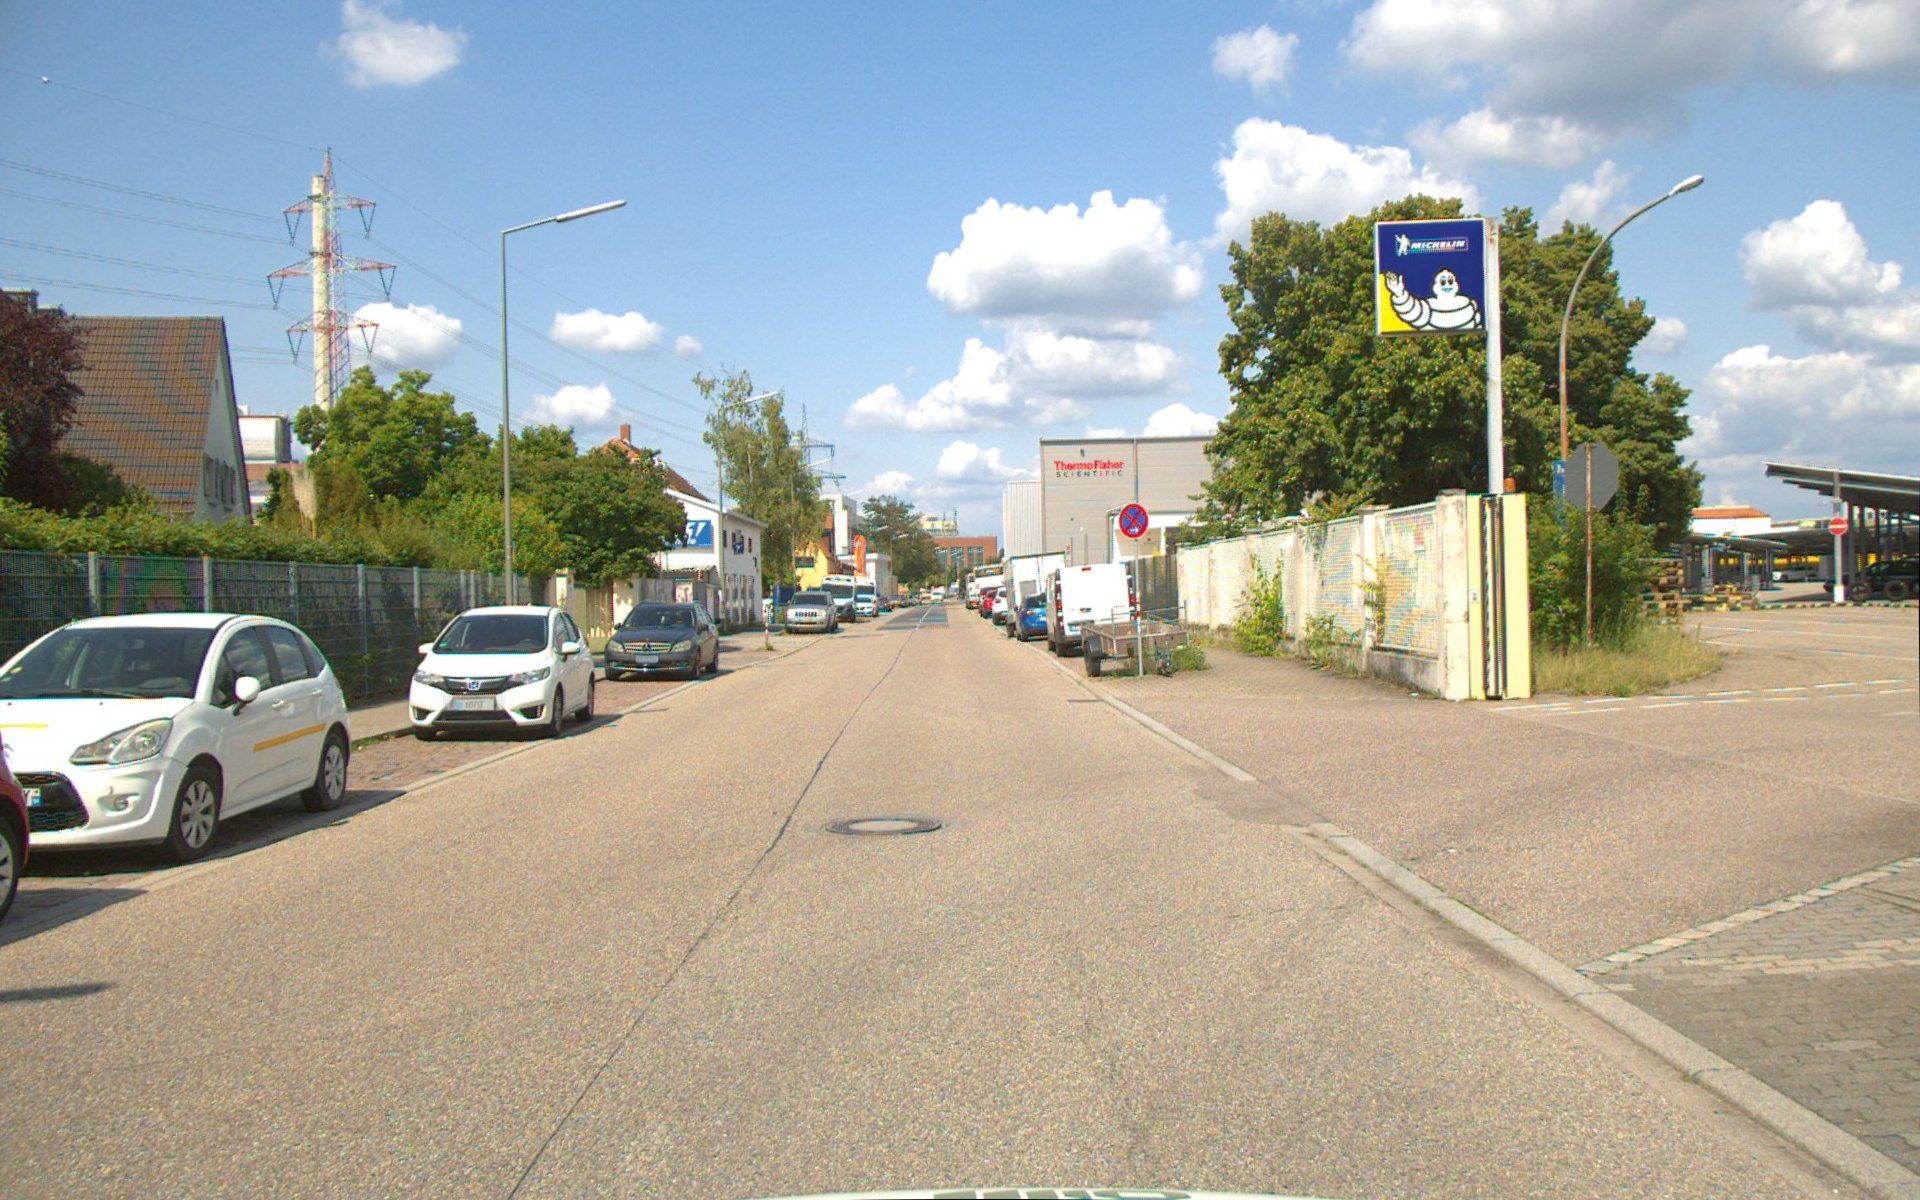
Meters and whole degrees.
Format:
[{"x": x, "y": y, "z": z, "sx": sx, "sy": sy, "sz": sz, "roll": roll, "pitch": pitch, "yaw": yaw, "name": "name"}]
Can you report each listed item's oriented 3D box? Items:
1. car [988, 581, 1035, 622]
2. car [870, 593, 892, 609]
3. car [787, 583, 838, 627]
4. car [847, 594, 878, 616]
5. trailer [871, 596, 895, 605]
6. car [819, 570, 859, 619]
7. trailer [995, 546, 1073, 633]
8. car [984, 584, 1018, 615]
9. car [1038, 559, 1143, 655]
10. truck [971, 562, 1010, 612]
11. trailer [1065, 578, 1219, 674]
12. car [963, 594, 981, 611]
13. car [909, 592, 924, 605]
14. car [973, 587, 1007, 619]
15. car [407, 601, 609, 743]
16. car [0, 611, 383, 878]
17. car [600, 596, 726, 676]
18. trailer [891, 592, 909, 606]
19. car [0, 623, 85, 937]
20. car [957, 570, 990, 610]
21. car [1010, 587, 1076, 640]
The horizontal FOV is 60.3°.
[{"x": 2.364, "y": 0.048, "z": 77.127, "sx": 1.896, "sy": 1.723, "sz": 4.679, "roll": -4, "pitch": 0, "yaw": -1, "name": "car"}, {"x": -7.193, "y": 0.091, "z": 150.861, "sx": 1.726, "sy": 1.473, "sz": 4.740, "roll": 0, "pitch": 0, "yaw": 0, "name": "car"}, {"x": -6.185, "y": 0.198, "z": 69.648, "sx": 1.754, "sy": 1.749, "sz": 4.750, "roll": 1, "pitch": 0, "yaw": -1, "name": "car"}, {"x": -6.593, "y": 0.335, "z": 112.094, "sx": 1.759, "sy": 1.422, "sz": 4.502, "roll": 0, "pitch": 0, "yaw": 1, "name": "car"}, {"x": -7.894, "y": 0.069, "z": 169.706, "sx": 2.314, "sy": 0.908, "sz": 5.568, "roll": 0, "pitch": 0, "yaw": -1, "name": "trailer"}, {"x": -6.715, "y": -0.293, "z": 92.347, "sx": 1.989, "sy": 2.602, "sz": 6.654, "roll": 1, "pitch": 0, "yaw": -2, "name": "car"}, {"x": 2.552, "y": -0.338, "z": 58.682, "sx": 2.160, "sy": 2.784, "sz": 6.220, "roll": -4, "pitch": 0, "yaw": -1, "name": "trailer"}, {"x": 2.384, "y": -0.035, "z": 96.636, "sx": 1.670, "sy": 1.652, "sz": 4.091, "roll": -4, "pitch": 0, "yaw": -1, "name": "car"}, {"x": 3.035, "y": 0.152, "z": 39.583, "sx": 1.953, "sy": 2.049, "sz": 5.648, "roll": -2, "pitch": 0, "yaw": -1, "name": "car"}, {"x": 2.212, "y": -0.931, "z": 121.181, "sx": 2.409, "sy": 3.349, "sz": 6.817, "roll": -6, "pitch": 0, "yaw": 0, "name": "truck"}, {"x": 3.112, "y": 0.446, "z": 29.237, "sx": 1.716, "sy": 1.442, "sz": 4.544, "roll": -4, "pitch": 0, "yaw": -6, "name": "trailer"}, {"x": 1.239, "y": 0.221, "z": 164.782, "sx": 1.732, "sy": 1.640, "sz": 3.873, "roll": -1, "pitch": 0, "yaw": 1, "name": "car"}, {"x": -6.057, "y": -0.214, "z": 229.787, "sx": 1.882, "sy": 1.825, "sz": 4.001, "roll": 0, "pitch": 0, "yaw": 2, "name": "car"}, {"x": 1.862, "y": 0.190, "z": 103.664, "sx": 2.011, "sy": 1.936, "sz": 5.147, "roll": 0, "pitch": 0, "yaw": 1, "name": "car"}, {"x": -5.541, "y": 0.815, "z": 20.761, "sx": 1.588, "sy": 1.549, "sz": 4.172, "roll": -1, "pitch": 0, "yaw": -4, "name": "car"}, {"x": -5.501, "y": 0.851, "z": 11.513, "sx": 1.612, "sy": 1.503, "sz": 4.028, "roll": -1, "pitch": 0, "yaw": -1, "name": "car"}, {"x": -5.737, "y": 0.656, "z": 32.436, "sx": 1.769, "sy": 1.443, "sz": 4.495, "roll": 1, "pitch": 0, "yaw": -2, "name": "car"}, {"x": -6.871, "y": -0.156, "z": 190.746, "sx": 1.953, "sy": 1.584, "sz": 4.253, "roll": -1, "pitch": 0, "yaw": -1, "name": "trailer"}, {"x": -5.401, "y": 0.856, "z": 6.763, "sx": 1.632, "sy": 1.492, "sz": 3.743, "roll": 0, "pitch": 0, "yaw": 0, "name": "car"}, {"x": 1.244, "y": -0.902, "z": 152.145, "sx": 2.341, "sy": 3.421, "sz": 6.640, "roll": -4, "pitch": 0, "yaw": -3, "name": "car"}, {"x": 2.571, "y": 0.405, "z": 51.963, "sx": 1.656, "sy": 1.486, "sz": 4.069, "roll": -4, "pitch": 0, "yaw": -2, "name": "car"}]
